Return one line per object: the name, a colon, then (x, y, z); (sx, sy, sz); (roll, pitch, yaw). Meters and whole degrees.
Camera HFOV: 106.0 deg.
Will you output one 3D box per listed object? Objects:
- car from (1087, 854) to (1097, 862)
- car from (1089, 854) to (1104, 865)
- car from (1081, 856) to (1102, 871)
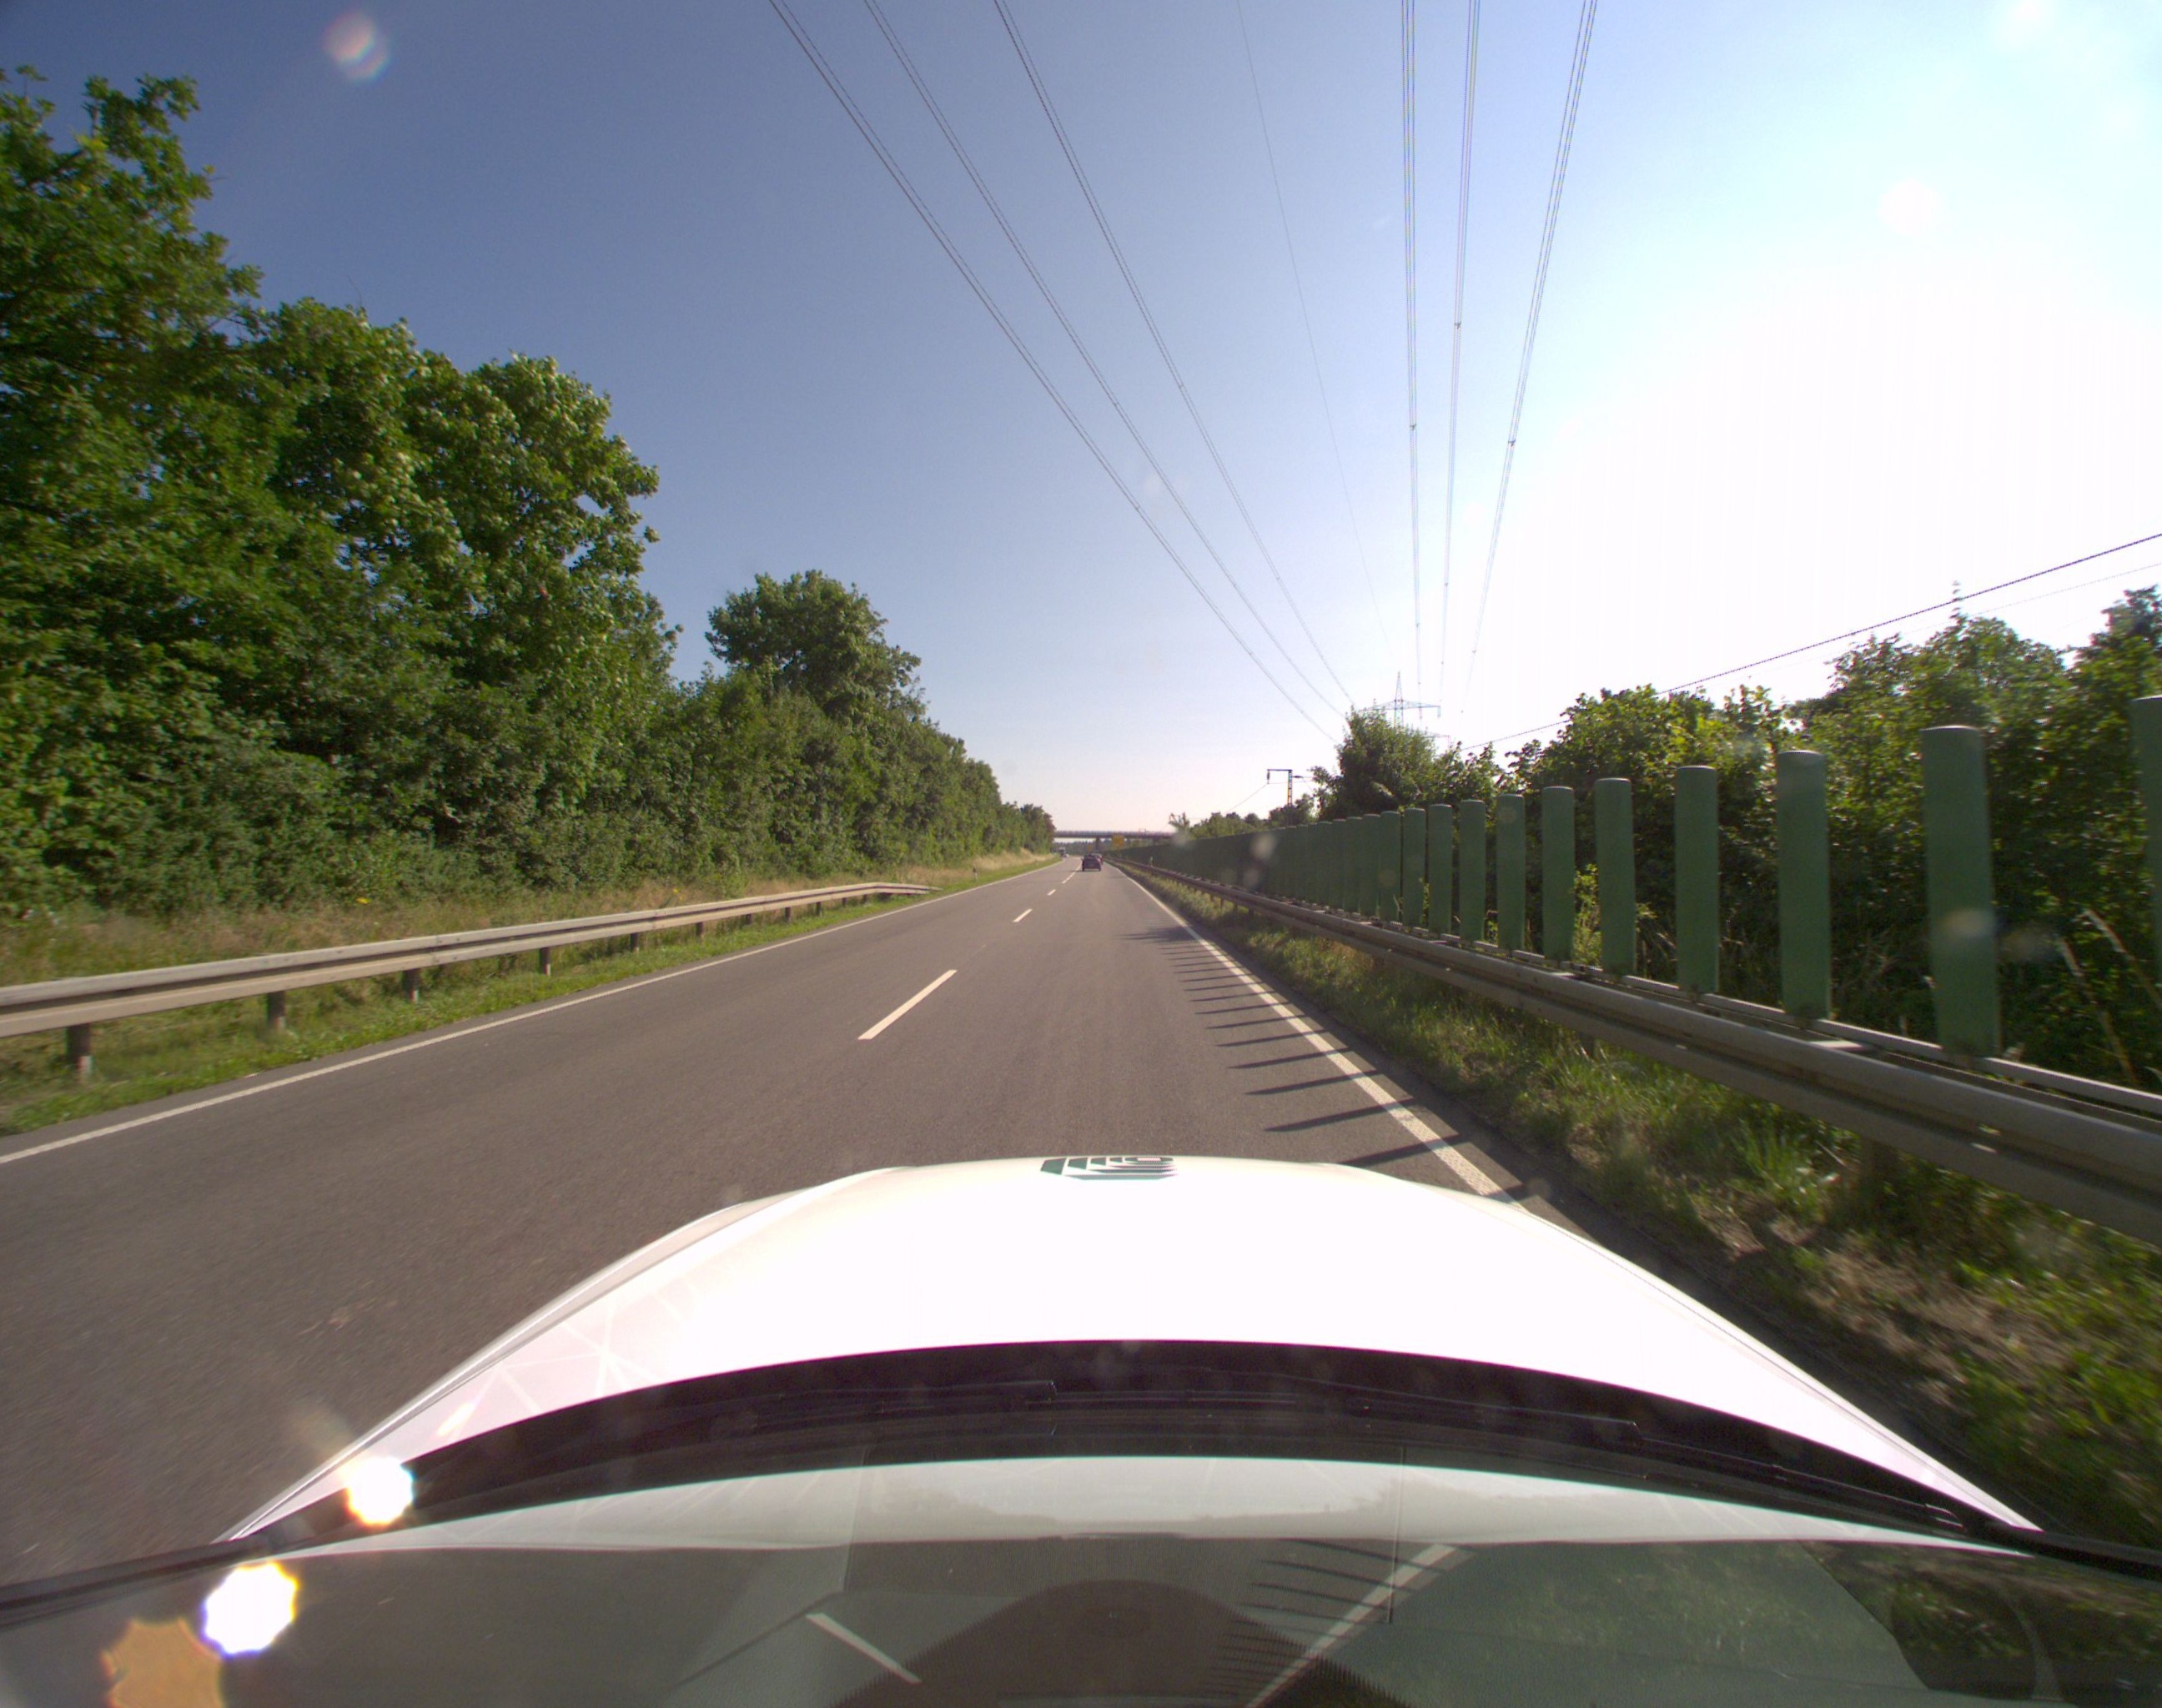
car: (2.221, 0.788, 161.206); (1.889, 1.418, 3.998); (0, 0, -1)
car: (2.055, 0.742, 109.047); (1.889, 1.418, 3.998); (0, 0, -1)
car: (0.881, 0.838, 70.446); (1.658, 1.261, 3.998); (0, 0, -1)
